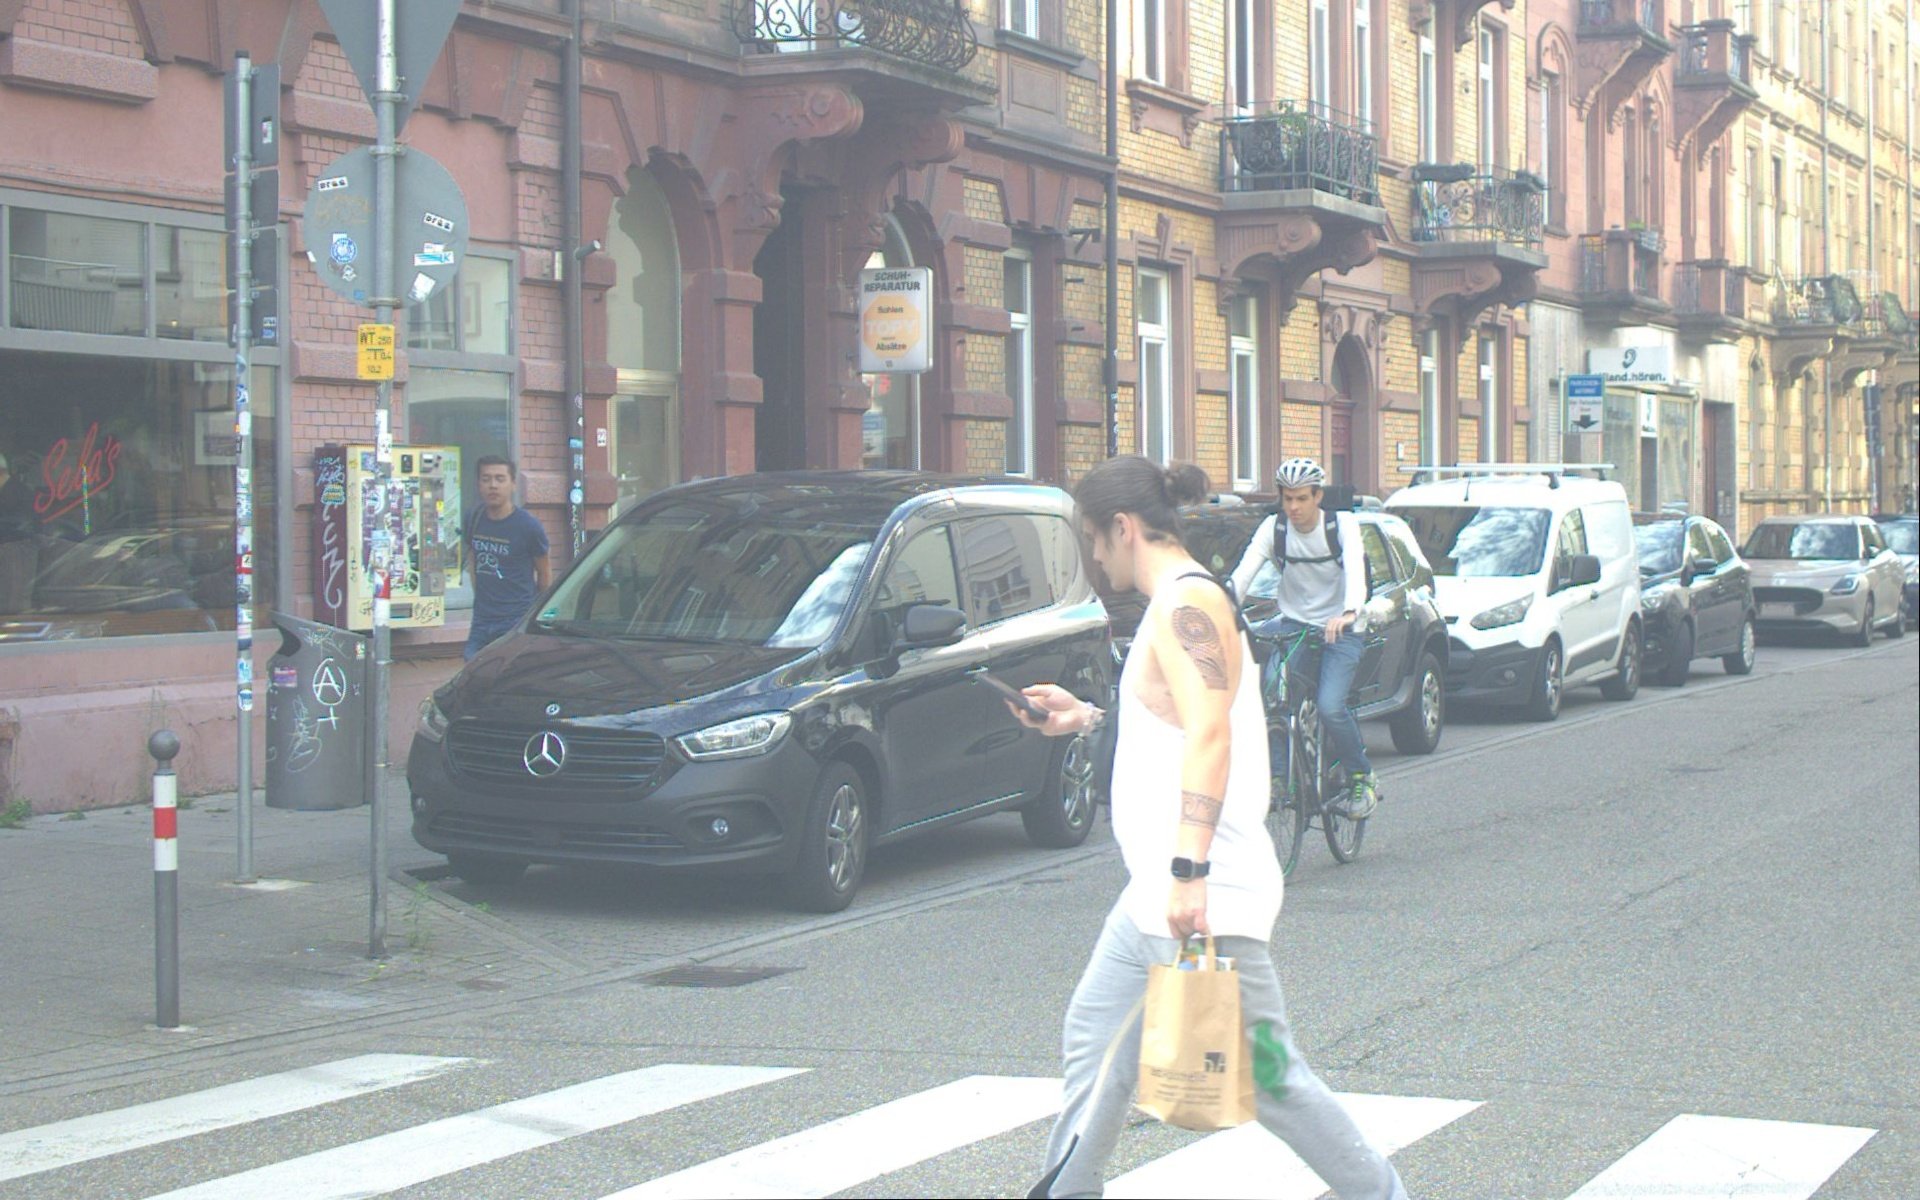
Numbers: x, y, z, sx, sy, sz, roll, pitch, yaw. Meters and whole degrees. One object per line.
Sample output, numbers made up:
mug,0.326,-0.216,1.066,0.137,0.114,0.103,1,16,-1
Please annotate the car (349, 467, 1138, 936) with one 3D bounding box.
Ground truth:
car,-0.789,0.314,15.536,1.762,1.767,4.401,2,2,23

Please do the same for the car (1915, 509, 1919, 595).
car,16.904,-0.813,56.492,1.692,1.381,3.862,2,3,25

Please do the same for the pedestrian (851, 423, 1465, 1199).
pedestrian,0.401,0.516,6.557,1.020,1.665,0.804,0,1,15

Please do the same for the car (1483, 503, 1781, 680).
car,6.229,-0.103,31.570,1.744,1.478,3.978,2,1,25

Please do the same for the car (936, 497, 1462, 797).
car,1.588,0.189,21.192,1.996,1.632,4.141,1,2,23

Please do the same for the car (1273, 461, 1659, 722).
car,4.053,-0.140,26.893,1.922,1.865,4.432,0,2,23

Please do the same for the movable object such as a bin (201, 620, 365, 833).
movable object such as a bin,-2.400,0.442,12.211,0.383,0.711,0.475,1,2,20

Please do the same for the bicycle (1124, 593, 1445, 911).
bicycle,1.459,0.624,15.043,0.701,1.216,2.114,-2,1,25

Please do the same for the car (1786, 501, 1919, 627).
car,12.017,-0.502,44.616,1.744,1.478,3.978,2,3,25

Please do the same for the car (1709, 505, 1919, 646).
car,10.059,-0.330,40.056,1.744,1.478,3.978,2,3,25

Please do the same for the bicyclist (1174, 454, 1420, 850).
bicyclist,1.498,0.206,15.150,0.701,1.672,1.111,-2,1,25

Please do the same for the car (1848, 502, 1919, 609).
car,13.785,-0.648,48.558,1.692,1.381,3.862,2,3,25

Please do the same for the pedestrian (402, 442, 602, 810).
pedestrian,-2.361,0.112,17.778,0.677,1.834,0.857,2,3,18
